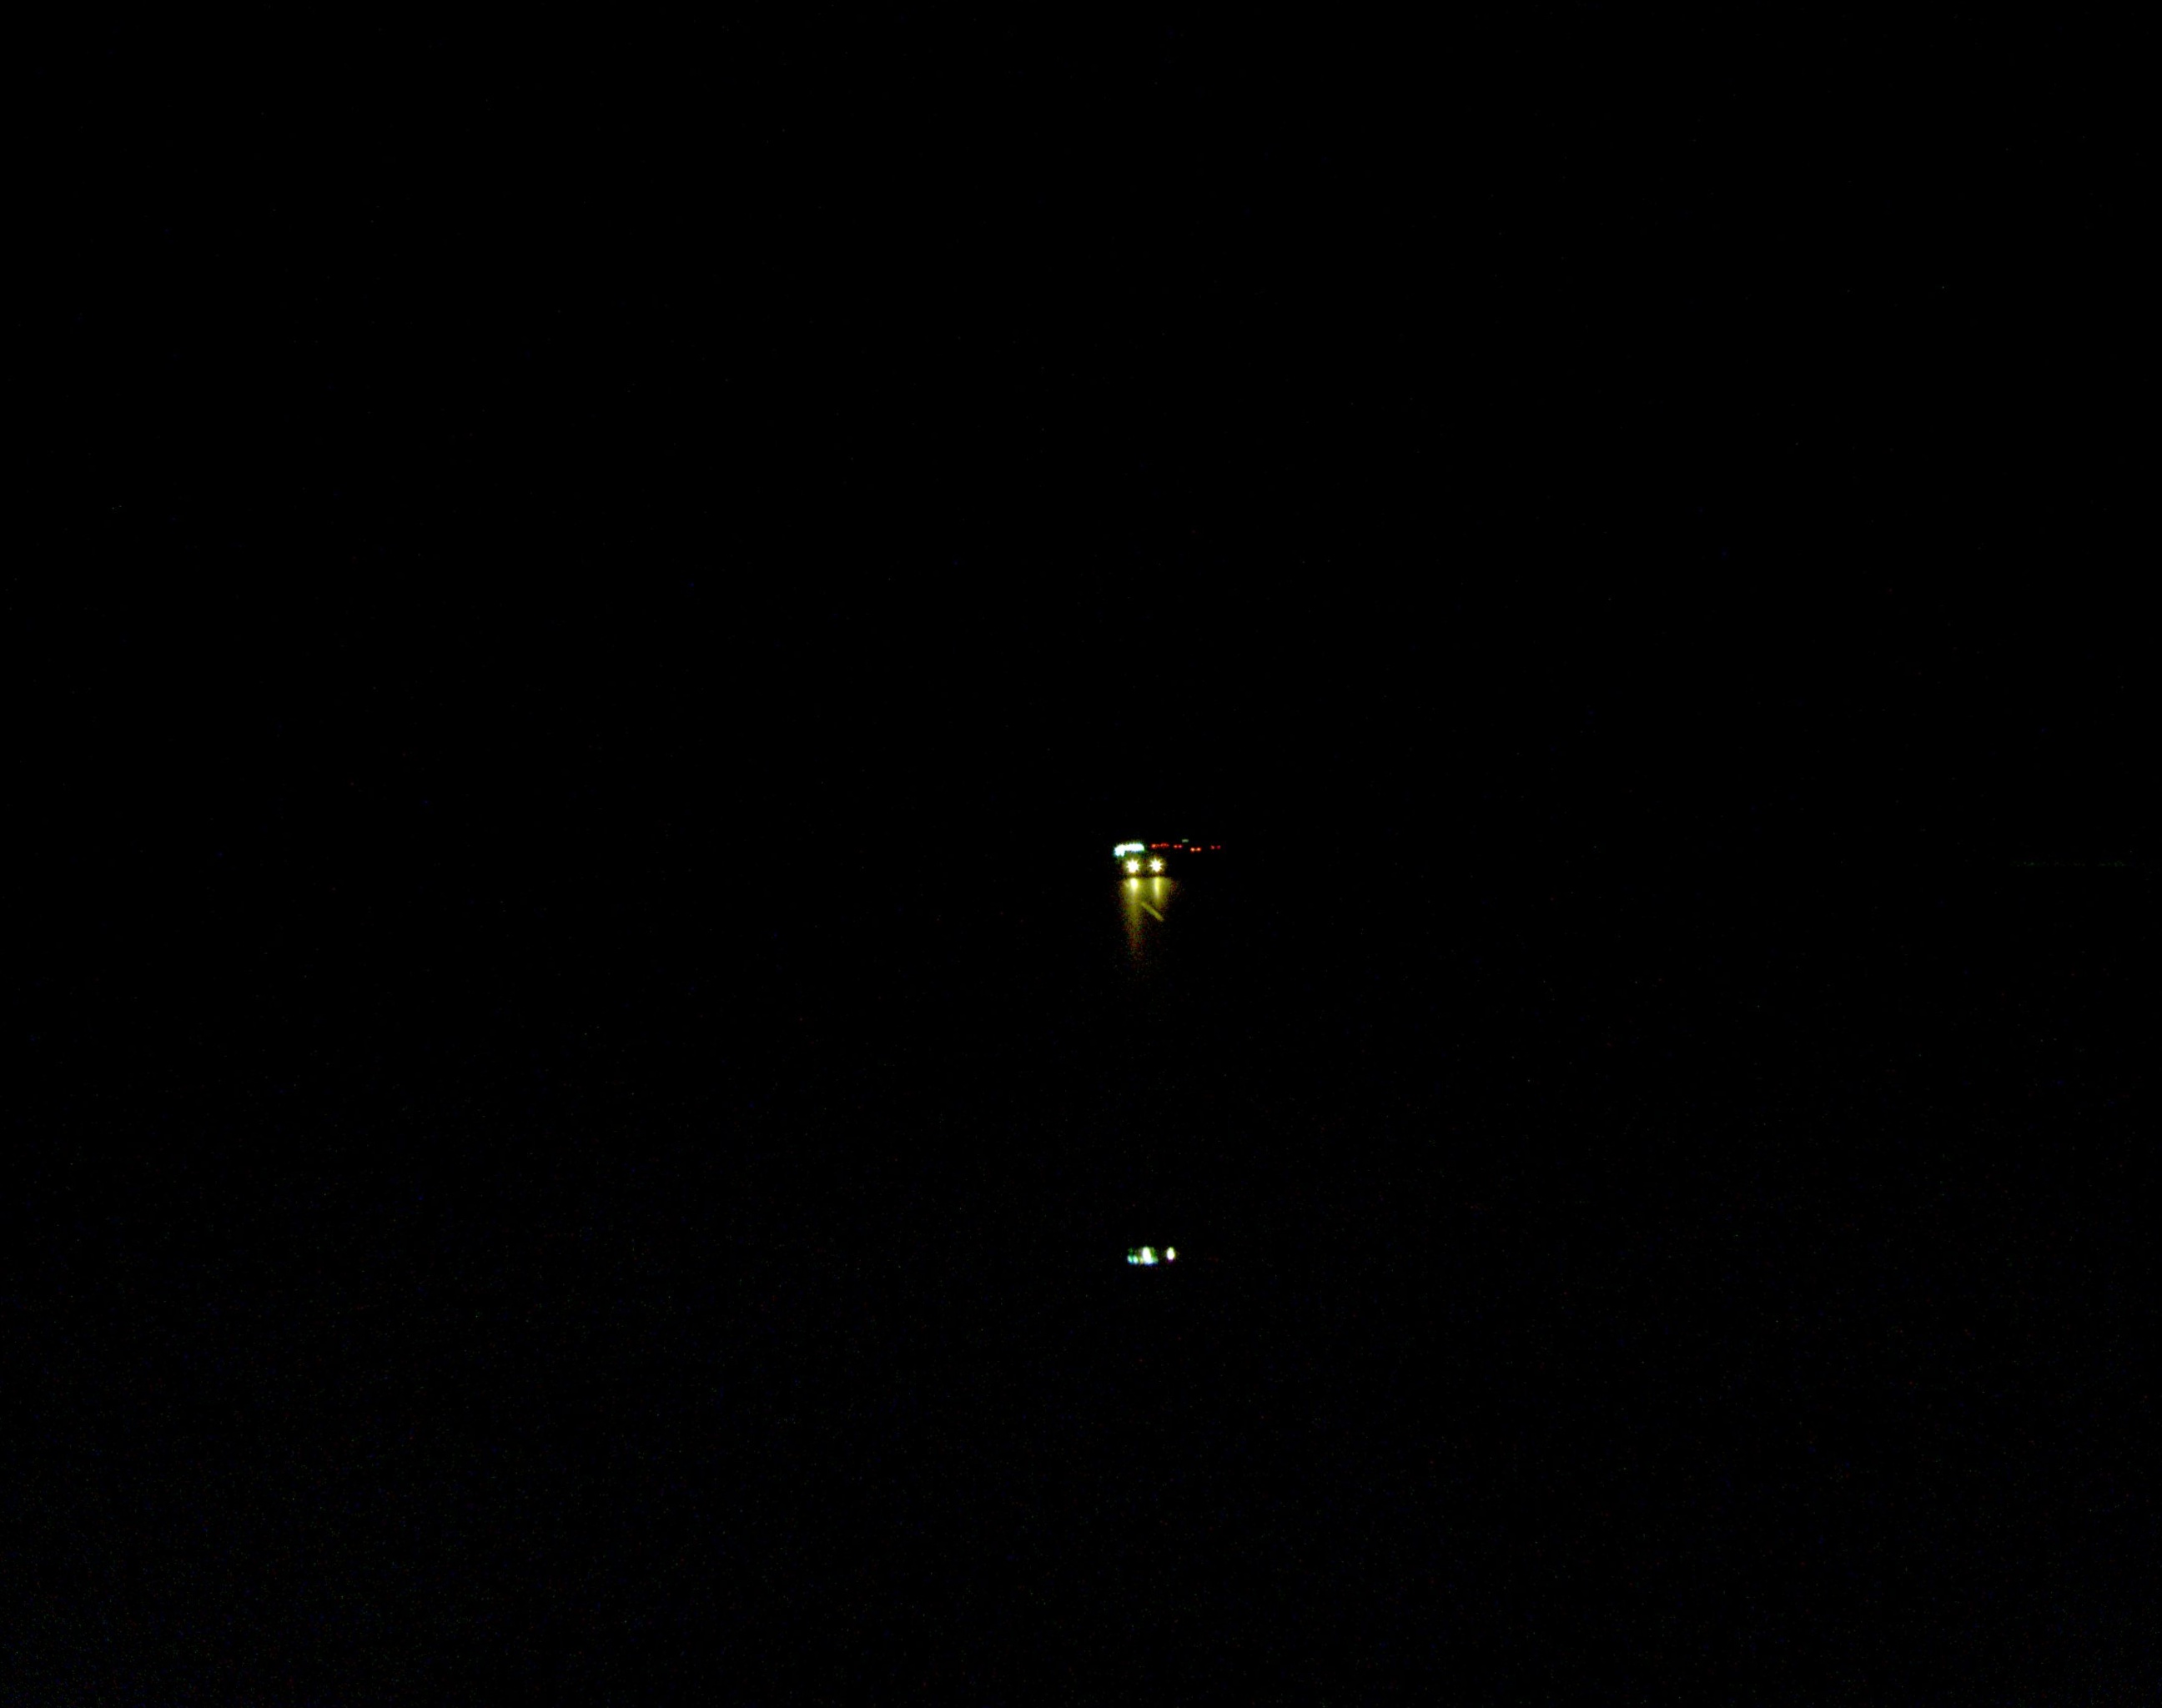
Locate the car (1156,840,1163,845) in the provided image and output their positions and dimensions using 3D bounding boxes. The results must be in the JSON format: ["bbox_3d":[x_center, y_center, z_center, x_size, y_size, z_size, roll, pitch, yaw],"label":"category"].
[{"bbox_3d":[27.676,-3.978,268.589,1.998,1.724,4.659,-2,1,3],"label":"car"}]

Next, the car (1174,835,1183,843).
[{"bbox_3d":[34.104,-5.279,266.389,2.463,2.919,8.333,-2,1,3],"label":"car"}]

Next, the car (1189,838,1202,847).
[{"bbox_3d":[24.004,-2.424,159.421,2.109,1.874,4.659,-2,1,3],"label":"car"}]

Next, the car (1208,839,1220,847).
[{"bbox_3d":[27.623,-2.272,157.676,1.778,1.421,4.659,-2,1,3],"label":"car"}]

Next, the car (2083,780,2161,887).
[{"bbox_3d":[18.997,-0.368,11.291,2.109,1.779,4.658,-2,1,1],"label":"car"}]

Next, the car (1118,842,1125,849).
[{"bbox_3d":[12.033,-2.514,226.182,1.998,1.724,4.225,-3,0,3],"label":"car"}]

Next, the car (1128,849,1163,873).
[{"bbox_3d":[4.230,0.419,50.168,1.998,1.423,4.330,-3,0,2],"label":"car"}]
